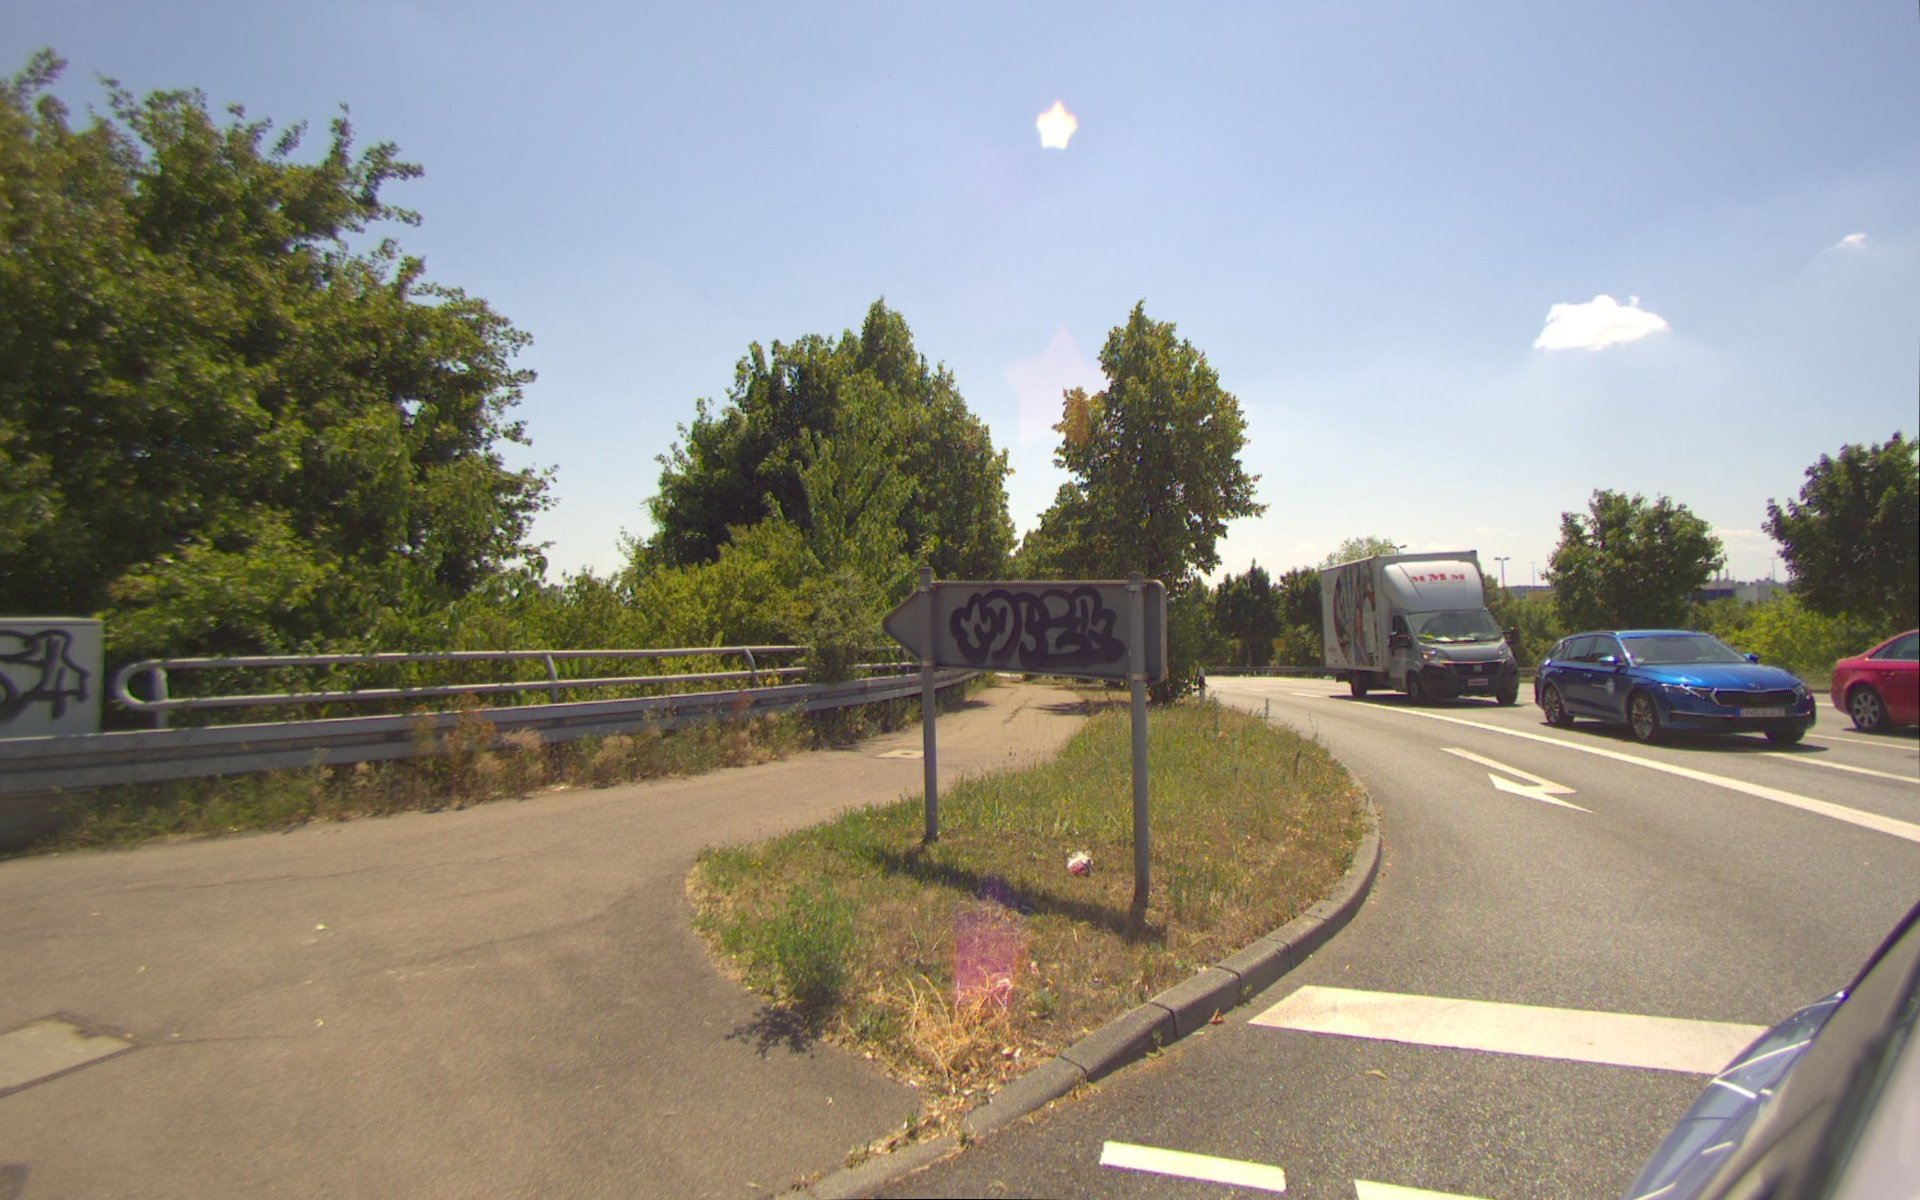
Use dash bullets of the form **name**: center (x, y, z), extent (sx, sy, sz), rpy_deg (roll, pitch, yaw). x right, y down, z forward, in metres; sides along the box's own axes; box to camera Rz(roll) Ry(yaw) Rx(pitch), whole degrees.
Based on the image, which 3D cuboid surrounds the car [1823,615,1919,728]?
- **car**: center (12.688, 0.868, 11.921), extent (1.638, 1.406, 4.438), rpy_deg (-1, -2, 8)

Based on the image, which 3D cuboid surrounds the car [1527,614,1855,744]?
- **car**: center (9.750, 1.028, 14.026), extent (1.684, 1.482, 4.477), rpy_deg (-2, -3, 8)

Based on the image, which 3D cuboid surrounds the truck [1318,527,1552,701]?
- **truck**: center (10.712, 0.469, 23.771), extent (2.372, 3.392, 7.190), rpy_deg (-2, -3, 4)
